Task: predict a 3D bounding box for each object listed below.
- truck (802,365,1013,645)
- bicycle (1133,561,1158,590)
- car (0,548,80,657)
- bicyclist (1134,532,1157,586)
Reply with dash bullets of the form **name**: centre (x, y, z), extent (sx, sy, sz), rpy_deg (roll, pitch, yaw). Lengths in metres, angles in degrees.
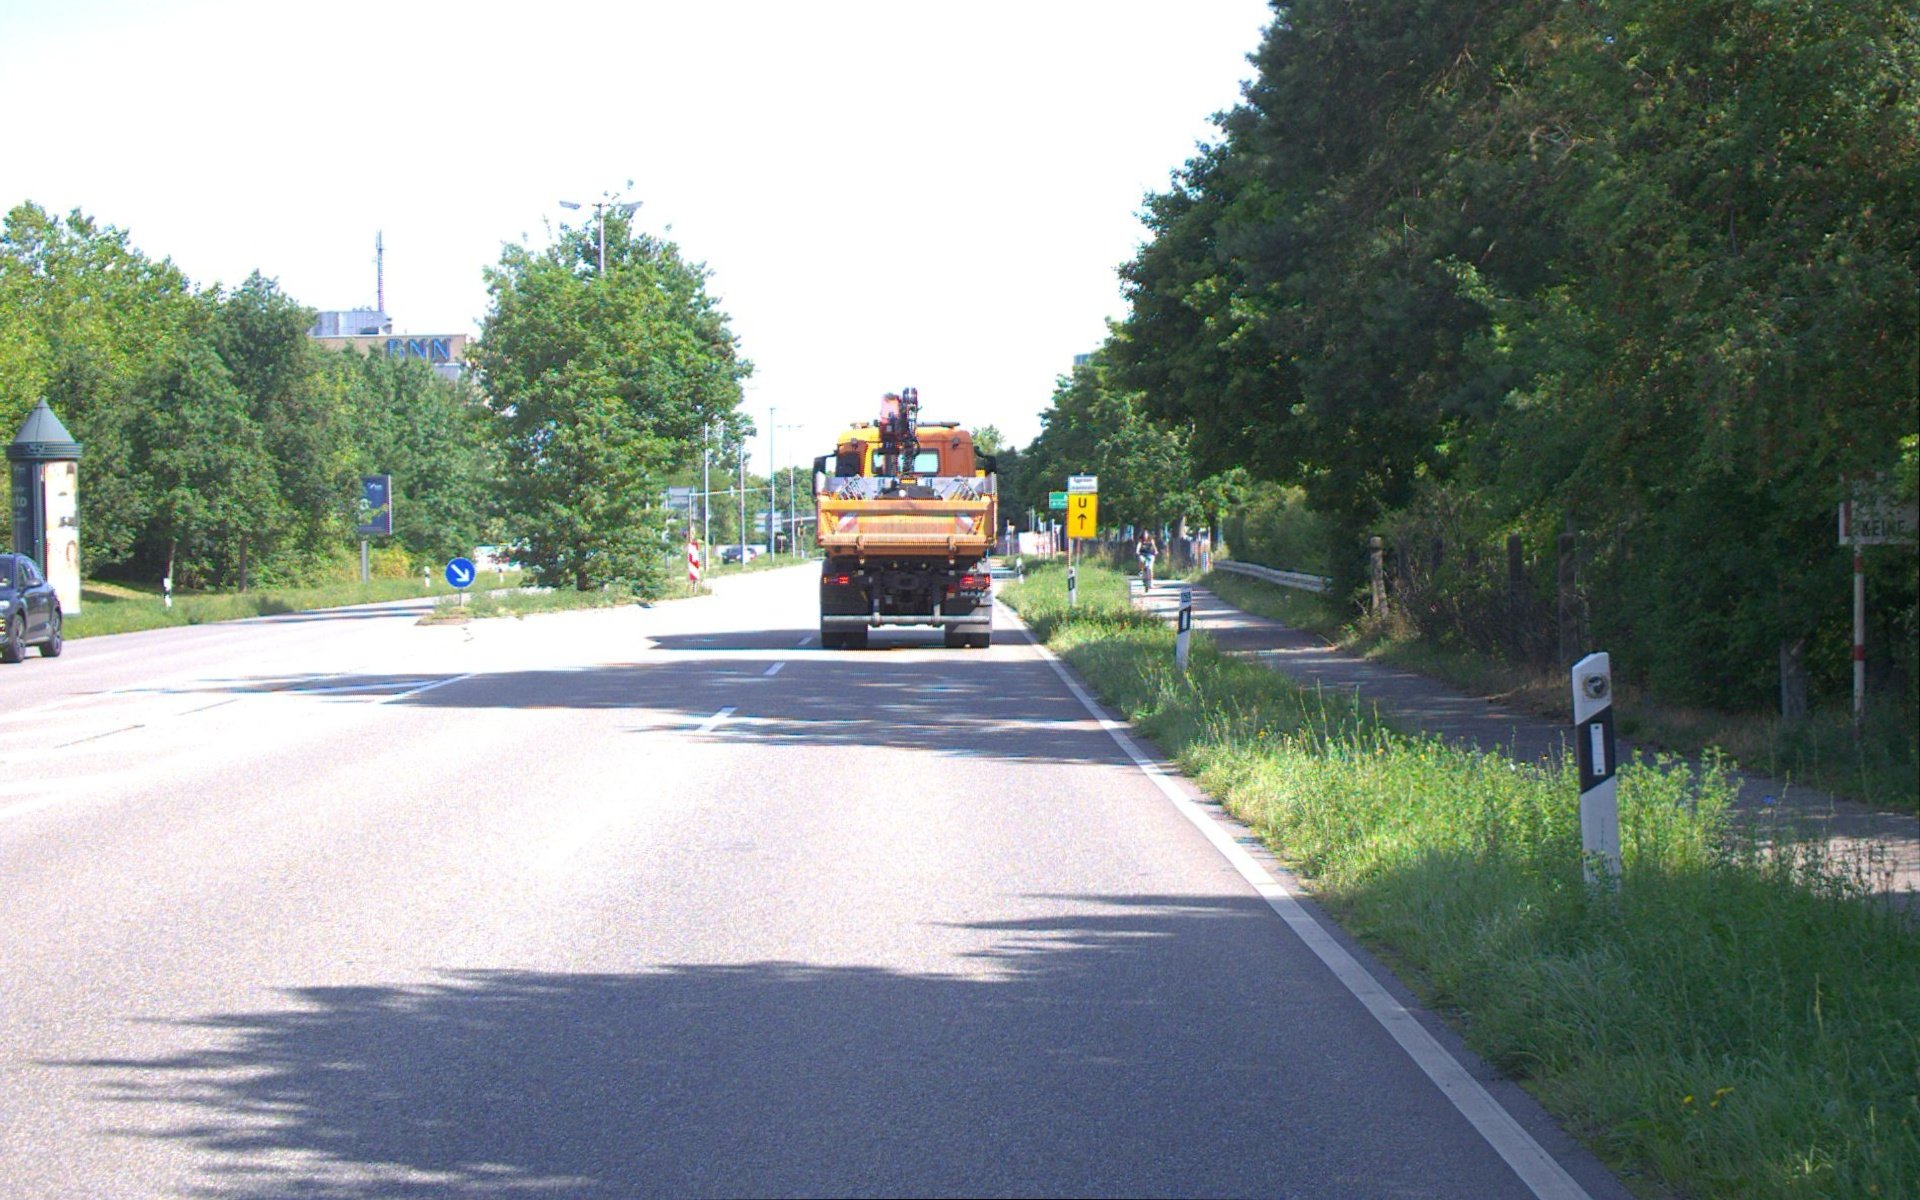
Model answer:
- **truck**: centre (-0.887, -1.402, 51.773), extent (2.871, 3.867, 7.401), rpy_deg (1, 1, -2)
- **bicycle**: centre (5.328, -0.708, 98.633), extent (0.558, 0.813, 1.964), rpy_deg (-2, 1, -1)
- **car**: centre (-14.792, 0.035, 52.234), extent (1.800, 1.566, 4.000), rpy_deg (-2, 1, -1)
- **bicyclist**: centre (5.318, -1.178, 98.532), extent (0.558, 1.552, 0.557), rpy_deg (-2, 1, -1)
